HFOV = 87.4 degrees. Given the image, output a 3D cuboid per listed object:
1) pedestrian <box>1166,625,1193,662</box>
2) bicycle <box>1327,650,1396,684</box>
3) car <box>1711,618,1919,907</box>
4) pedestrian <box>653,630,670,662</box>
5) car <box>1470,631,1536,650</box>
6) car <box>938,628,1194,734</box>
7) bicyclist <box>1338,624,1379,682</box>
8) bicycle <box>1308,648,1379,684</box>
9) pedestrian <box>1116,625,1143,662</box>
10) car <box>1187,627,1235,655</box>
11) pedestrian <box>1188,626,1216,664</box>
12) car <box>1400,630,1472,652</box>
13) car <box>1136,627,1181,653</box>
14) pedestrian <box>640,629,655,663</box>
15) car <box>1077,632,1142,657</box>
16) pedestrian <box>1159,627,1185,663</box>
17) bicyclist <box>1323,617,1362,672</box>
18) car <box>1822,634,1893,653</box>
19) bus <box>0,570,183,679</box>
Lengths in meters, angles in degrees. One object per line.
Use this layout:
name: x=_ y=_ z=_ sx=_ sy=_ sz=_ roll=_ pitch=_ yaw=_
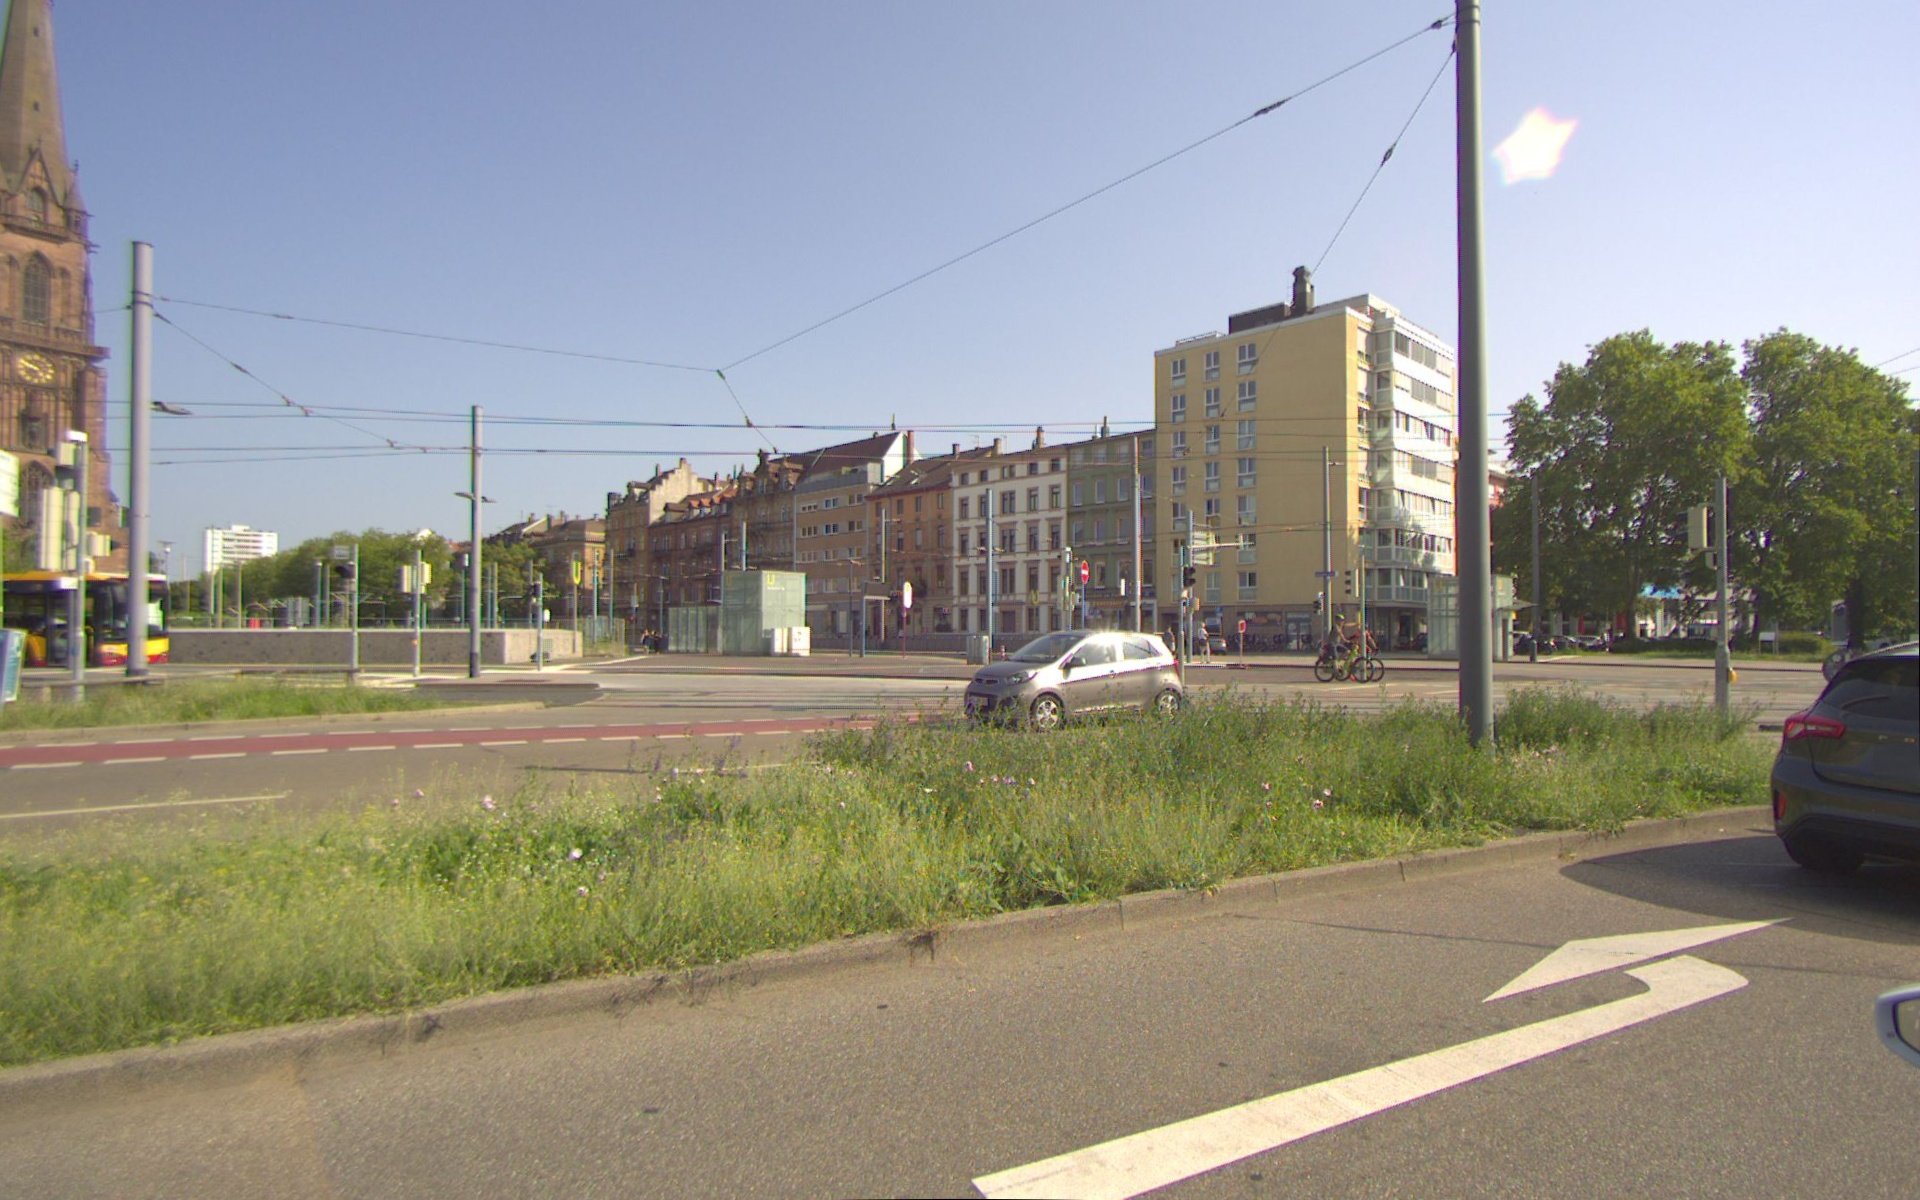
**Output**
pedestrian: x=10.321 y=2.043 z=47.261 sx=0.912 sy=1.712 sz=0.917 roll=-1 pitch=-2 yaw=45
bicycle: x=11.818 y=1.958 z=29.606 sx=0.720 sy=0.944 sz=1.798 roll=1 pitch=-2 yaw=-39
car: x=6.854 y=0.862 z=6.073 sx=4.488 sy=1.454 sz=1.827 roll=1 pitch=-1 yaw=-25
pedestrian: x=-17.007 y=2.638 z=57.267 sx=0.744 sy=1.806 sz=0.701 roll=1 pitch=-1 yaw=-31
car: x=41.028 y=3.018 z=75.926 sx=4.112 sy=1.372 sz=1.569 roll=-1 pitch=-2 yaw=44
car: x=1.688 y=1.180 z=15.680 sx=3.636 sy=1.471 sz=1.878 roll=1 pitch=-2 yaw=-33
bicyclist: x=11.771 y=1.557 z=29.670 sx=0.720 sy=1.674 sz=0.874 roll=1 pitch=-2 yaw=-39
bicycle: x=10.939 y=1.863 z=28.708 sx=0.720 sy=0.944 sz=1.798 roll=1 pitch=-2 yaw=-39
pedestrian: x=8.207 y=2.092 z=48.551 sx=0.912 sy=1.712 sz=0.917 roll=-1 pitch=-2 yaw=45
car: x=15.980 y=2.595 z=64.153 sx=1.960 sy=1.701 sz=4.551 roll=0 pitch=-1 yaw=1
pedestrian: x=11.101 y=2.049 z=46.095 sx=0.912 sy=1.712 sz=0.917 roll=-1 pitch=-2 yaw=45
car: x=31.731 y=2.725 z=67.009 sx=4.112 sy=1.372 sz=1.473 roll=-1 pitch=-2 yaw=44
car: x=13.362 y=2.666 z=67.913 sx=1.961 sy=1.701 sz=4.549 roll=1 pitch=-1 yaw=-3
pedestrian: x=-17.657 y=2.601 z=56.794 sx=0.645 sy=1.891 sz=0.715 roll=1 pitch=-1 yaw=-31
car: x=9.578 y=2.851 z=64.680 sx=1.810 sy=1.555 sz=4.378 roll=1 pitch=-2 yaw=-30
pedestrian: x=10.299 y=2.157 z=48.761 sx=0.912 sy=1.712 sz=0.917 roll=-1 pitch=-2 yaw=45
bicyclist: x=10.941 y=1.273 z=28.722 sx=0.720 sy=1.547 sz=0.788 roll=1 pitch=-2 yaw=-39
car: x=77.013 y=3.758 z=86.224 sx=4.424 sy=1.543 sz=1.706 roll=0 pitch=-1 yaw=3
bus: x=-30.734 y=0.734 z=30.542 sx=11.974 sy=3.149 sz=2.717 roll=0 pitch=-2 yaw=0
